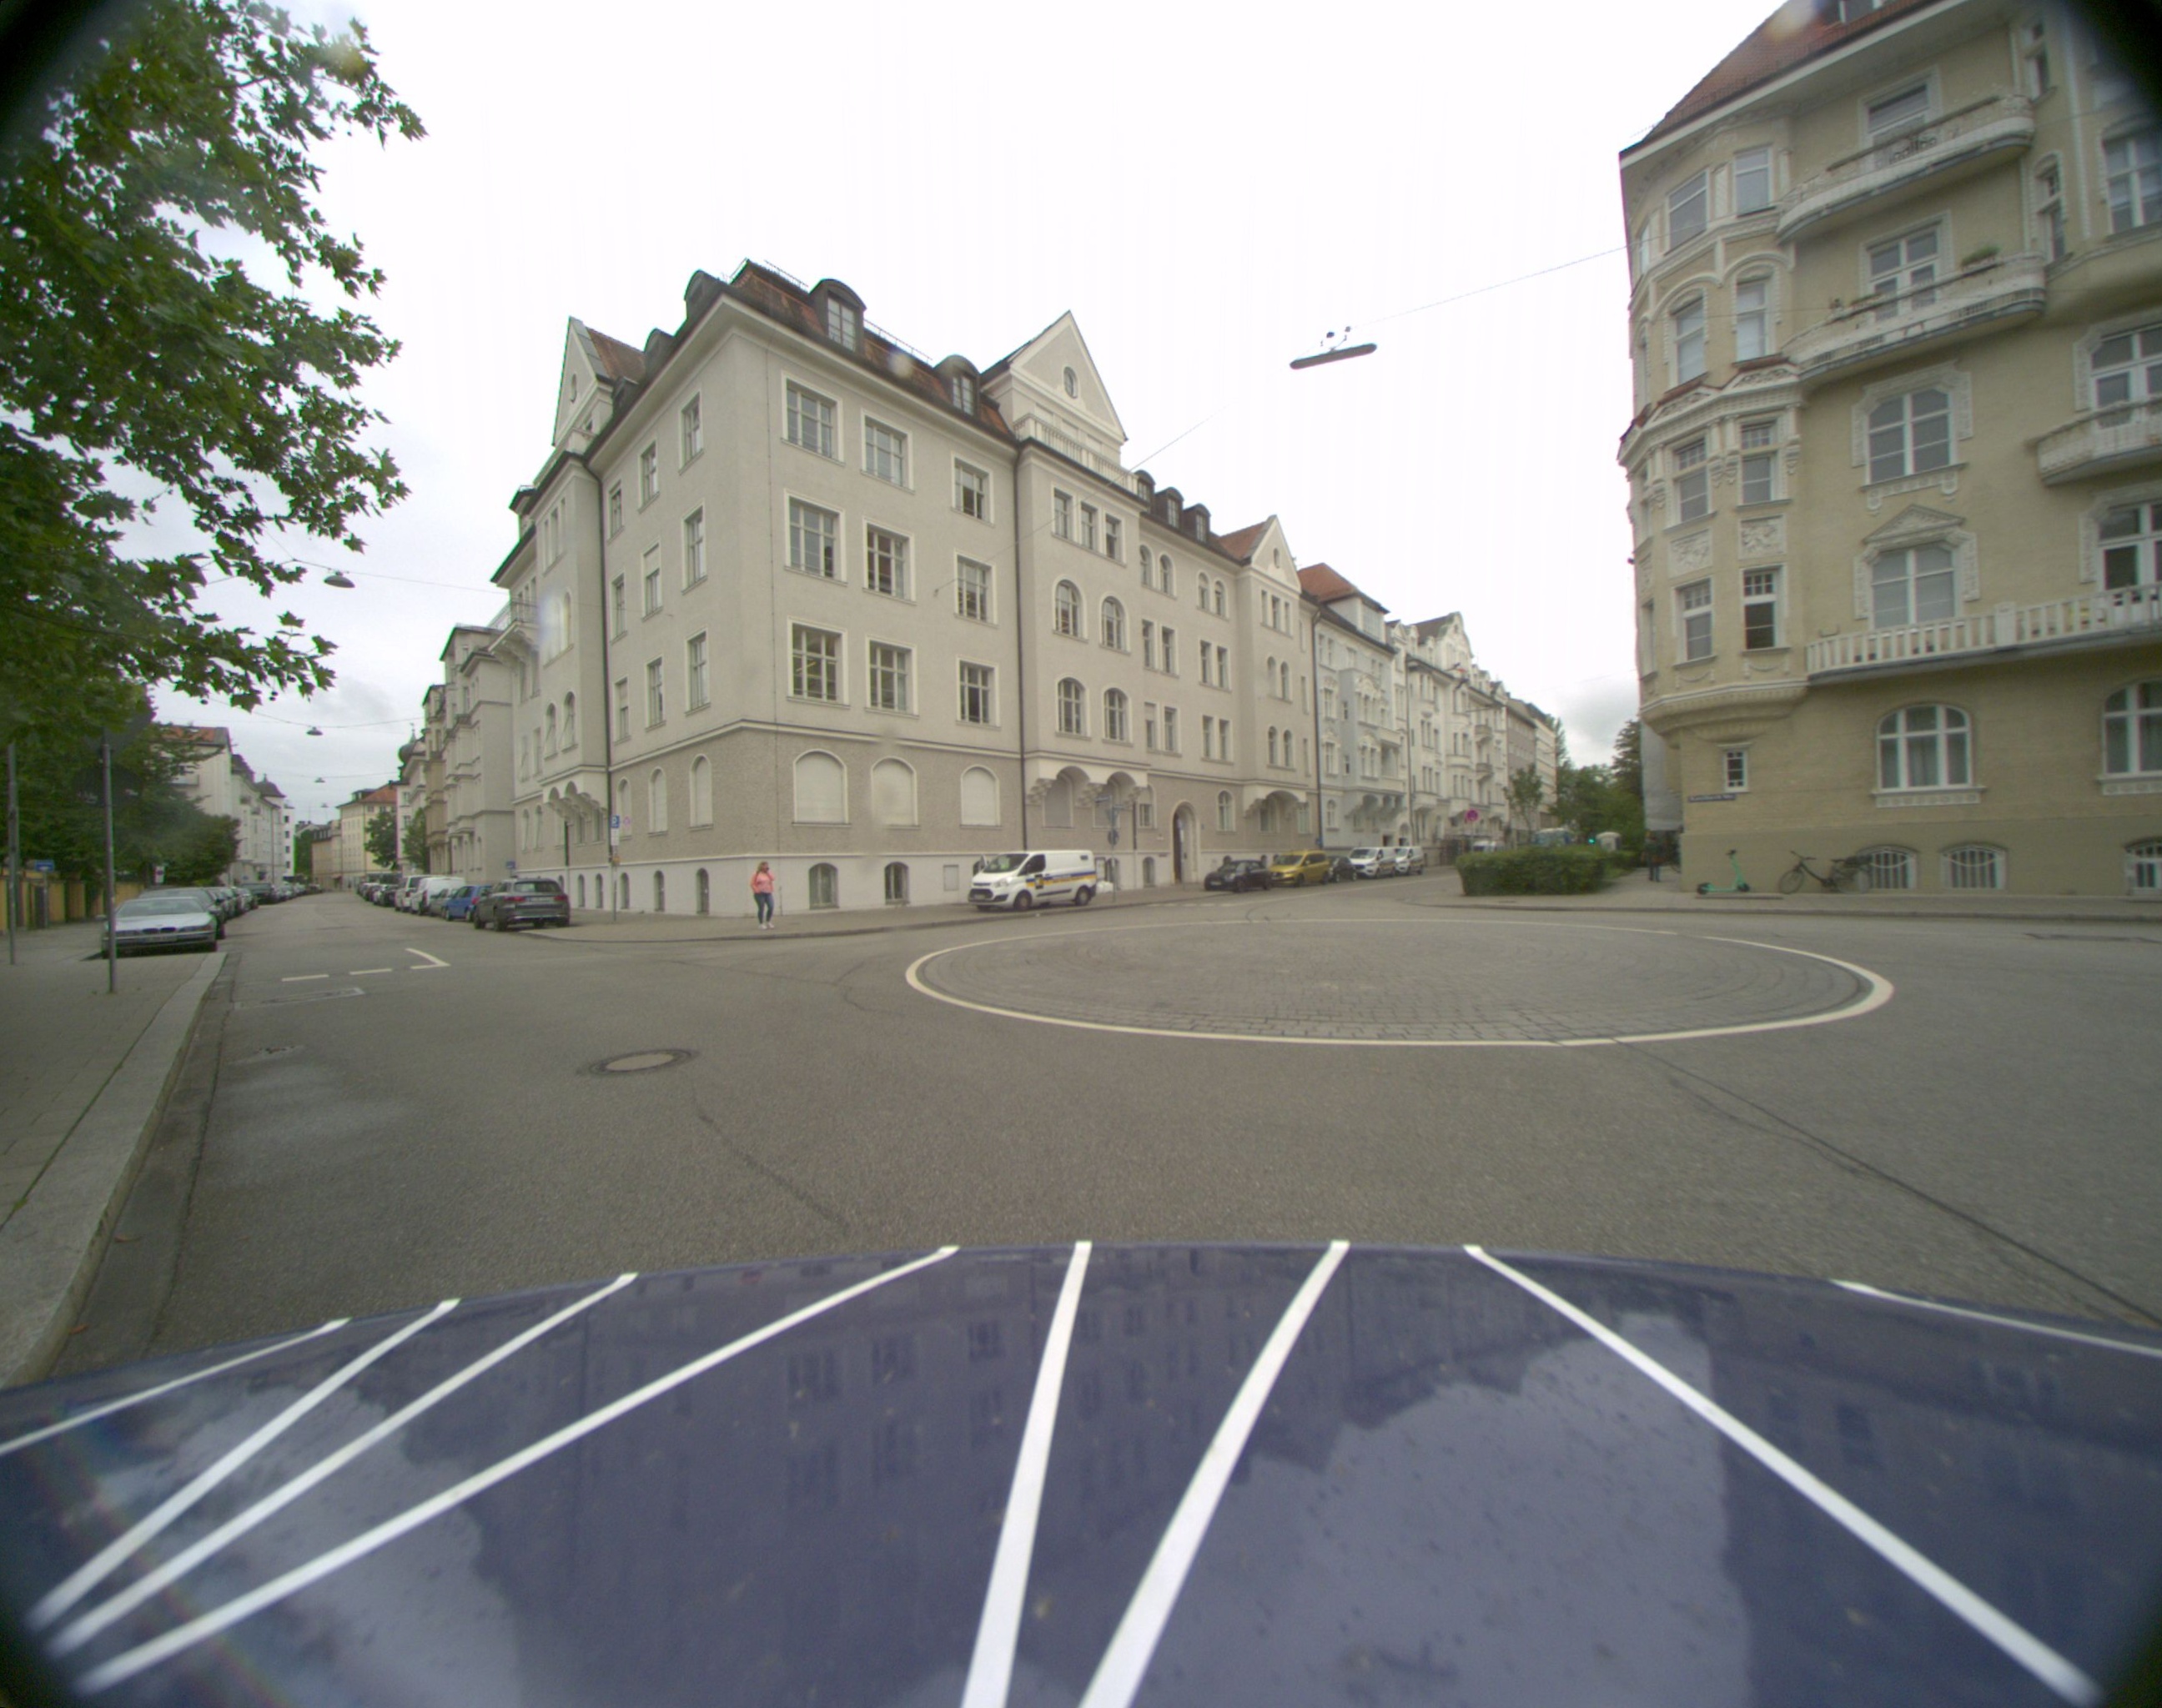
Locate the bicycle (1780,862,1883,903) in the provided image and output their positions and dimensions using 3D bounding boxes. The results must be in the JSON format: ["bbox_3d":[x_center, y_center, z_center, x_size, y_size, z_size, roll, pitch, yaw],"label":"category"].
[{"bbox_3d":[18.970,0.710,19.252,1.780,0.986,0.544,-2,1,37],"label":"bicycle"}]

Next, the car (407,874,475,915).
[{"bbox_3d":[-30.743,1.900,36.466,4.097,1.748,1.828,-1,2,42],"label":"car"}]

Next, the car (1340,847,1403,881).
[{"bbox_3d":[18.146,0.583,47.360,2.153,1.902,4.782,-1,2,41],"label":"car"}]

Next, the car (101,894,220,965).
[{"bbox_3d":[-22.980,1.801,19.065,3.989,1.460,1.741,-2,0,41],"label":"car"}]

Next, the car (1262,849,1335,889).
[{"bbox_3d":[11.112,0.725,38.722,1.791,1.809,4.312,-1,2,43],"label":"car"}]

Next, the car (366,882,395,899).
[{"bbox_3d":[-63.375,3.238,68.680,1.791,1.346,3.989,-3,1,-44],"label":"car"}]

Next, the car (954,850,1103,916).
[{"bbox_3d":[-1.634,0.890,25.486,1.946,1.923,4.984,-1,1,43],"label":"car"}]

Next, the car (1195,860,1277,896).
[{"bbox_3d":[7.144,1.045,34.896,1.946,1.412,3.827,-1,2,43],"label":"car"}]

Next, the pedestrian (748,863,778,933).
[{"bbox_3d":[-8.223,1.119,19.632,0.571,1.758,0.404,-2,1,-40],"label":"pedestrian"}]

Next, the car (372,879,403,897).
[{"bbox_3d":[-59.110,2.849,64.742,1.791,1.346,3.989,-3,1,-44],"label":"car"}]

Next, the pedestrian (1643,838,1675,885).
[{"bbox_3d":[22.193,0.285,29.176,0.702,1.782,0.745,-3,1,-30],"label":"pedestrian"}]

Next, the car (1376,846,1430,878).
[{"bbox_3d":[22.059,0.514,51.930,2.049,1.928,4.584,-1,2,41],"label":"car"}]

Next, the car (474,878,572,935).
[{"bbox_3d":[-17.930,1.607,24.332,3.989,1.573,1.741,-2,1,43],"label":"car"}]

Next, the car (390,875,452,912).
[{"bbox_3d":[-35.326,2.058,40.636,4.041,1.748,1.914,-1,2,42],"label":"car"}]

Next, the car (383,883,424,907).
[{"bbox_3d":[-44.920,2.675,50.340,1.791,1.346,3.989,-3,1,-44],"label":"car"}]

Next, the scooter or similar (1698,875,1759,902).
[{"bbox_3d":[17.238,0.915,20.248,1.231,0.683,0.317,-2,1,12],"label":"scooter or similar"}]

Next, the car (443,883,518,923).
[{"bbox_3d":[-23.348,1.857,29.512,3.288,1.325,1.704,-1,2,42],"label":"car"}]

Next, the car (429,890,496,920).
[{"bbox_3d":[-26.797,2.171,32.907,3.207,1.082,1.704,-1,1,42],"label":"car"}]

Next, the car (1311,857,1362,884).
[{"bbox_3d":[14.411,0.908,42.733,1.438,1.351,3.365,-1,2,43],"label":"car"}]

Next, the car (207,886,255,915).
[{"bbox_3d":[-48.659,2.635,43.465,3.989,1.460,1.741,-2,0,41],"label":"car"}]

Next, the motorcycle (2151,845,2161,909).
[{"bbox_3d":[23.400,0.452,15.156,2.239,1.319,0.825,-2,1,38],"label":"motorcycle"}]
